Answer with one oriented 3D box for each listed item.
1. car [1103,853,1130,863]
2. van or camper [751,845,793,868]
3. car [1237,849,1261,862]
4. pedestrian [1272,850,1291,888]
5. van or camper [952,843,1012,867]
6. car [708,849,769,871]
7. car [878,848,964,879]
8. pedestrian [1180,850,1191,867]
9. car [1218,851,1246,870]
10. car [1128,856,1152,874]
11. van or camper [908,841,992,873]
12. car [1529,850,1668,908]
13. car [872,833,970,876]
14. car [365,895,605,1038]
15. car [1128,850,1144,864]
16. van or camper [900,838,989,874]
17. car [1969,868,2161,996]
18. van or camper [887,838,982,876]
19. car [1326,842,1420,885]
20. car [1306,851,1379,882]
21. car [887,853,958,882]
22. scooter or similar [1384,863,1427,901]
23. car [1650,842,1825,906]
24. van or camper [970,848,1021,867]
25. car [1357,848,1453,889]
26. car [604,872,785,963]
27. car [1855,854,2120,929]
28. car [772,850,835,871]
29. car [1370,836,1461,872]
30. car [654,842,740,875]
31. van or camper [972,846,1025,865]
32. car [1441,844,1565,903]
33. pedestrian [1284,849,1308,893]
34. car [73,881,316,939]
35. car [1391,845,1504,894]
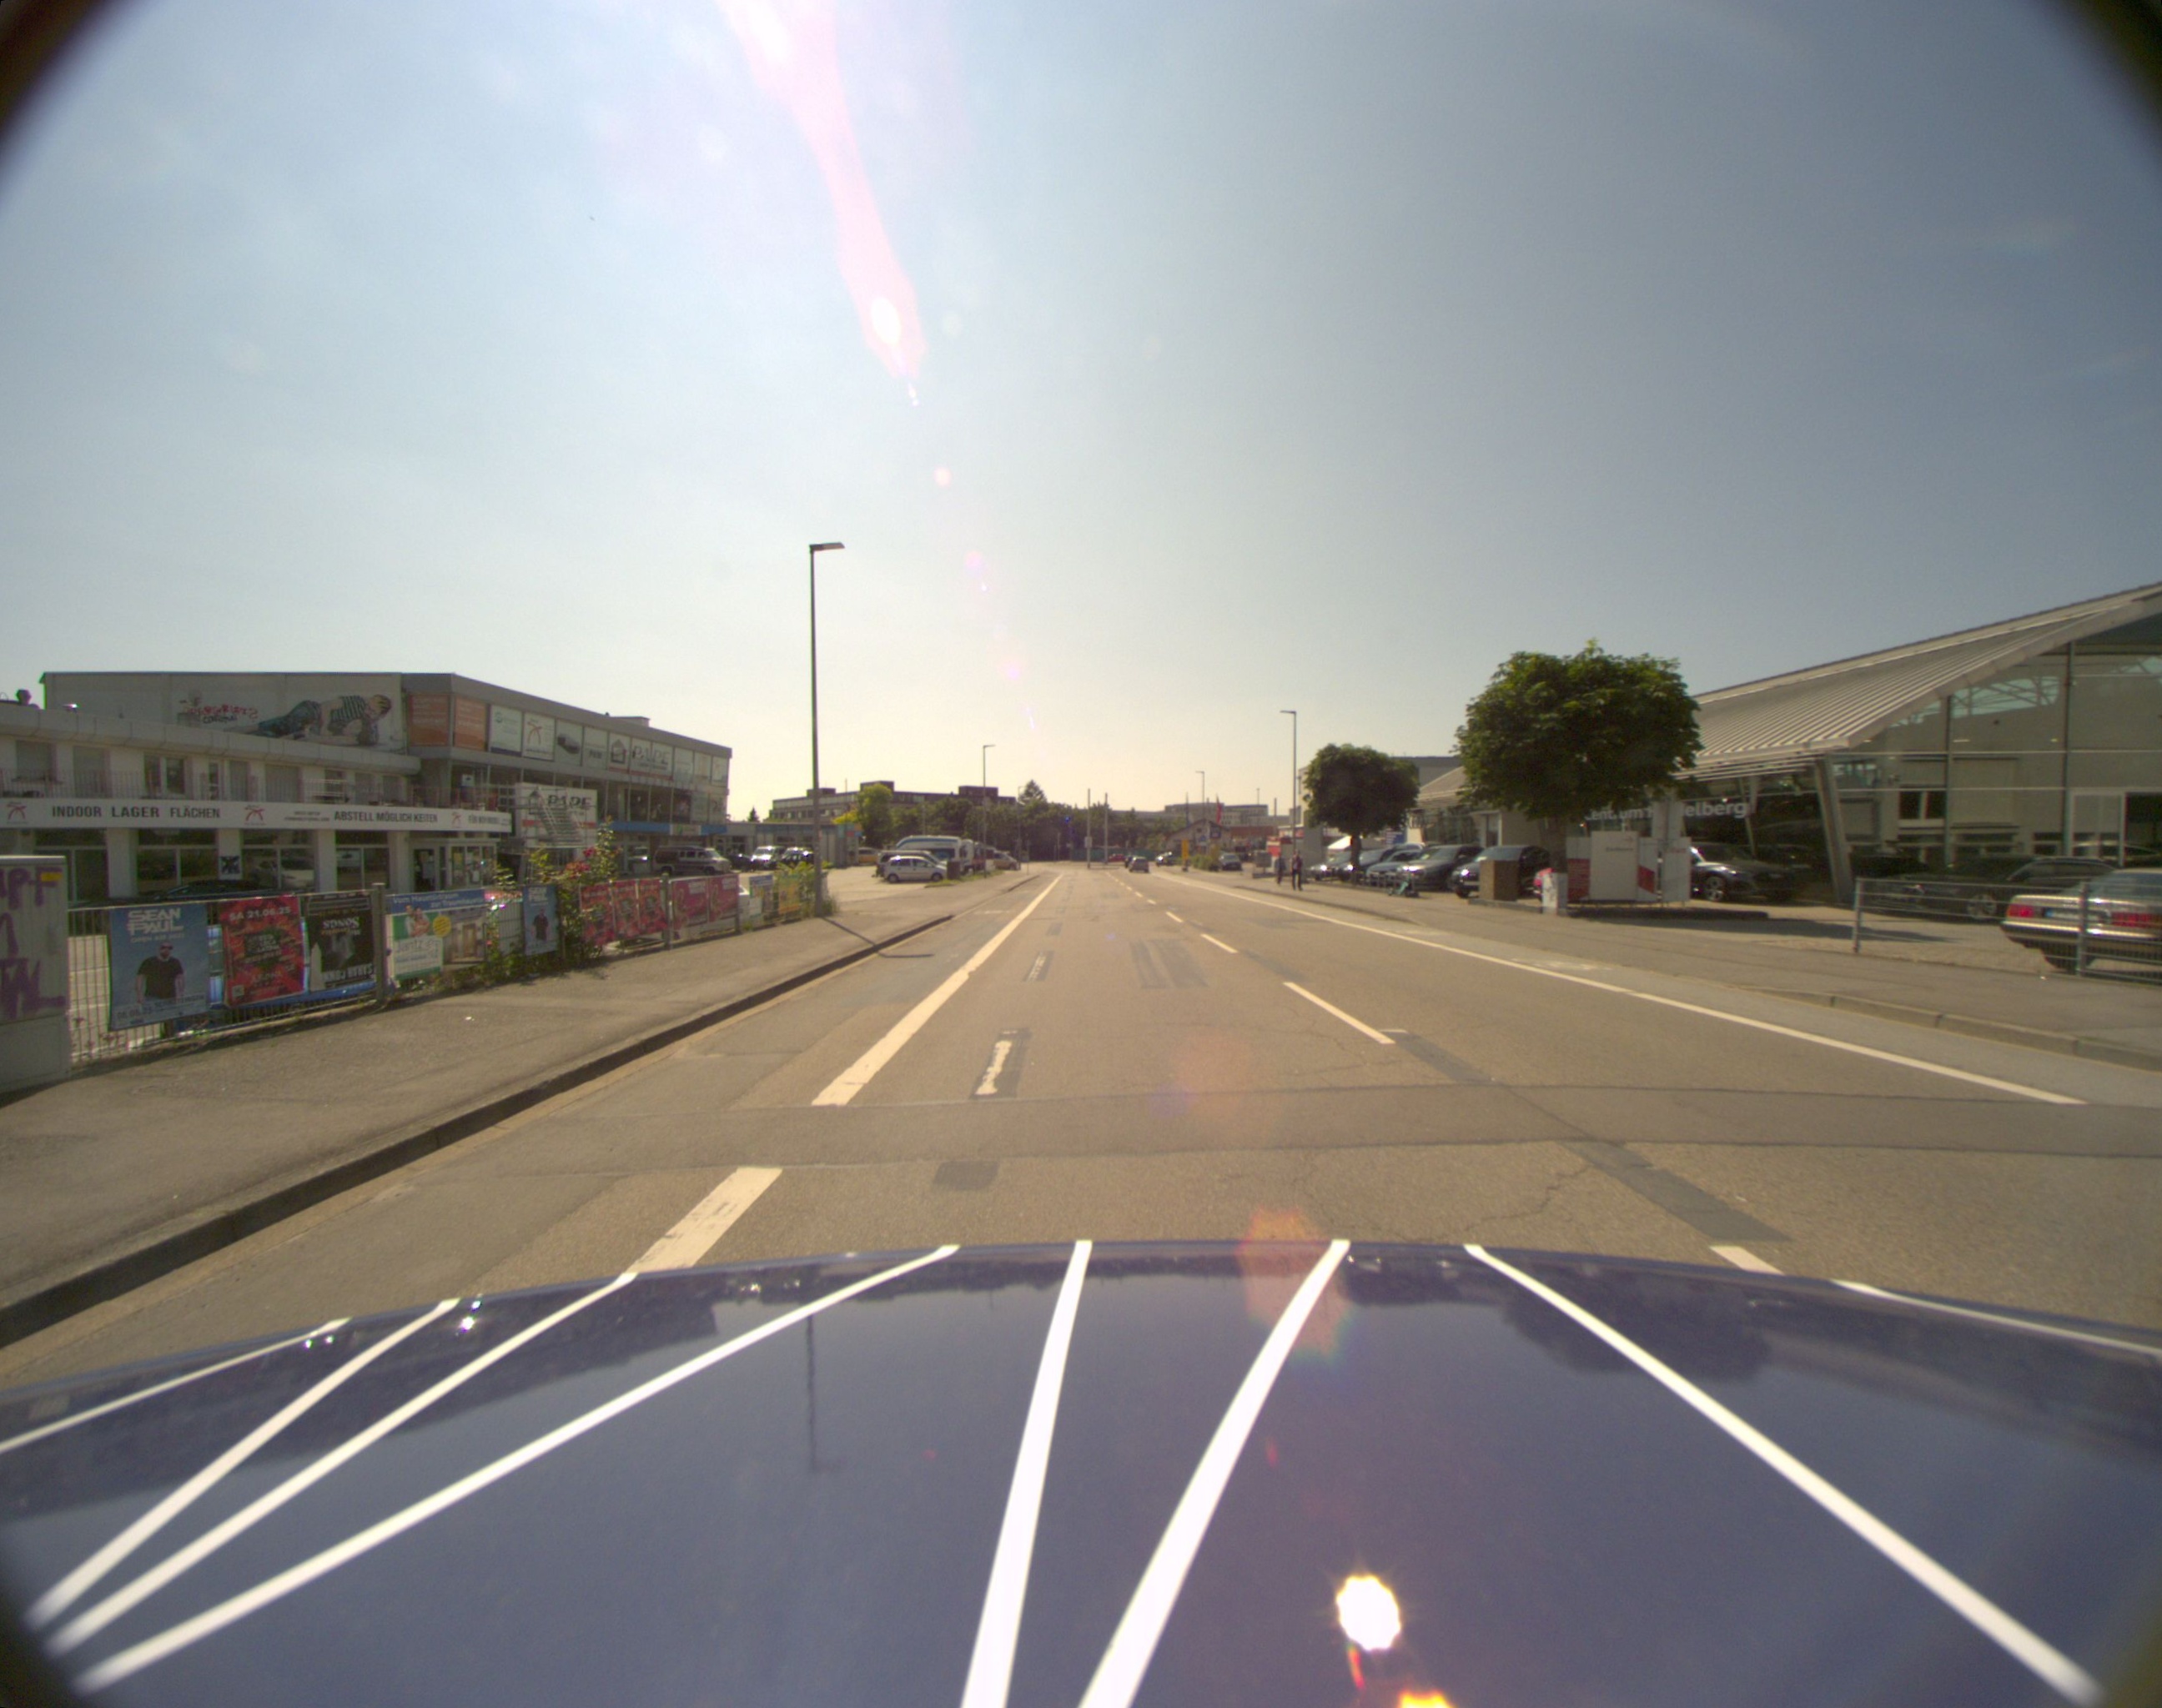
[{"bbox_3d":[5.792,0.661,123.779,3.989,1.696,2.004,-1,0,36],"label":"car"},{"bbox_3d":[-27.702,0.230,68.295,2.123,2.002,5.112,0,0,-5],"label":"van or camper"},{"bbox_3d":[19.027,0.139,86.329,1.911,1.380,4.485,0,0,3],"label":"car"},{"bbox_3d":[9.975,0.739,37.866,0.725,1.838,0.911,0,1,0],"label":"pedestrian"},{"bbox_3d":[-11.408,0.112,87.705,6.376,2.621,2.526,0,1,-36],"label":"van or camper"},{"bbox_3d":[-28.259,0.494,62.797,4.117,1.723,1.999,0,0,-4],"label":"car"},{"bbox_3d":[-10.420,0.606,49.750,5.247,1.940,2.000,1,0,0],"label":"car"},{"bbox_3d":[10.345,0.460,75.047,0.996,1.676,0.800,0,1,11],"label":"pedestrian"},{"bbox_3d":[13.698,0.555,69.124,1.909,1.705,4.000,0,0,2],"label":"car"},{"bbox_3d":[5.434,1.011,70.331,1.746,1.396,4.323,6,0,-1],"label":"car"},{"bbox_3d":[-10.435,0.236,60.851,6.211,2.510,2.618,0,0,0],"label":"van or camper"},{"bbox_3d":[15.330,0.680,22.476,4.006,1.541,1.855,-1,0,-31],"label":"car"},{"bbox_3d":[-10.961,0.041,52.312,6.243,2.853,2.320,0,1,0],"label":"car"},{"bbox_3d":[-9.036,1.517,11.444,3.819,1.607,1.897,-1,0,37],"label":"car"},{"bbox_3d":[6.265,0.337,86.859,1.664,1.446,4.241,1,0,3],"label":"car"},{"bbox_3d":[-10.413,0.125,58.449,6.365,2.700,2.712,0,0,0],"label":"van or camper"},{"bbox_3d":[14.854,0.925,9.865,4.536,1.449,1.900,0,0,-2],"label":"car"},{"bbox_3d":[-10.578,0.215,55.390,6.365,2.684,2.712,0,0,0],"label":"van or camper"},{"bbox_3d":[14.160,0.457,36.773,4.489,1.599,1.961,-5,-2,-35],"label":"car"},{"bbox_3d":[13.849,0.633,40.169,4.168,1.451,1.902,-2,1,-43],"label":"car"},{"bbox_3d":[-9.735,0.804,46.825,3.932,1.584,1.798,-2,0,0],"label":"car"},{"bbox_3d":[11.358,0.967,26.631,0.746,1.240,1.489,-1,0,-8],"label":"scooter or similar"},{"bbox_3d":[18.723,0.517,21.941,1.997,1.674,4.002,-1,0,9],"label":"car"},{"bbox_3d":[-9.629,0.367,85.359,5.148,2.064,2.446,0,0,-32],"label":"van or camper"},{"bbox_3d":[14.016,0.584,32.789,4.210,1.486,1.870,-3,2,-35],"label":"car"},{"bbox_3d":[-9.247,1.364,17.949,5.033,1.613,2.026,-1,5,43],"label":"car"},{"bbox_3d":[21.003,0.818,17.815,3.470,1.499,1.885,0,4,16],"label":"car"},{"bbox_3d":[-23.000,0.541,63.087,4.550,1.668,1.999,0,0,-4],"label":"car"},{"bbox_3d":[18.329,0.002,41.893,2.001,1.709,4.726,-4,1,-15],"label":"car"},{"bbox_3d":[-28.813,0.321,57.131,5.310,2.405,2.326,0,0,0],"label":"car"},{"bbox_3d":[-8.640,0.156,79.397,5.145,1.950,1.981,1,1,-30],"label":"van or camper"},{"bbox_3d":[14.417,0.608,25.906,4.488,1.698,1.906,-3,1,-35],"label":"car"},{"bbox_3d":[9.335,0.728,33.050,0.734,1.857,1.047,0,1,1],"label":"pedestrian"},{"bbox_3d":[-26.713,1.625,23.207,4.562,1.283,1.890,-4,1,-42],"label":"car"},{"bbox_3d":[13.998,0.548,28.913,4.588,1.687,1.854,-1,0,-35],"label":"car"}]
